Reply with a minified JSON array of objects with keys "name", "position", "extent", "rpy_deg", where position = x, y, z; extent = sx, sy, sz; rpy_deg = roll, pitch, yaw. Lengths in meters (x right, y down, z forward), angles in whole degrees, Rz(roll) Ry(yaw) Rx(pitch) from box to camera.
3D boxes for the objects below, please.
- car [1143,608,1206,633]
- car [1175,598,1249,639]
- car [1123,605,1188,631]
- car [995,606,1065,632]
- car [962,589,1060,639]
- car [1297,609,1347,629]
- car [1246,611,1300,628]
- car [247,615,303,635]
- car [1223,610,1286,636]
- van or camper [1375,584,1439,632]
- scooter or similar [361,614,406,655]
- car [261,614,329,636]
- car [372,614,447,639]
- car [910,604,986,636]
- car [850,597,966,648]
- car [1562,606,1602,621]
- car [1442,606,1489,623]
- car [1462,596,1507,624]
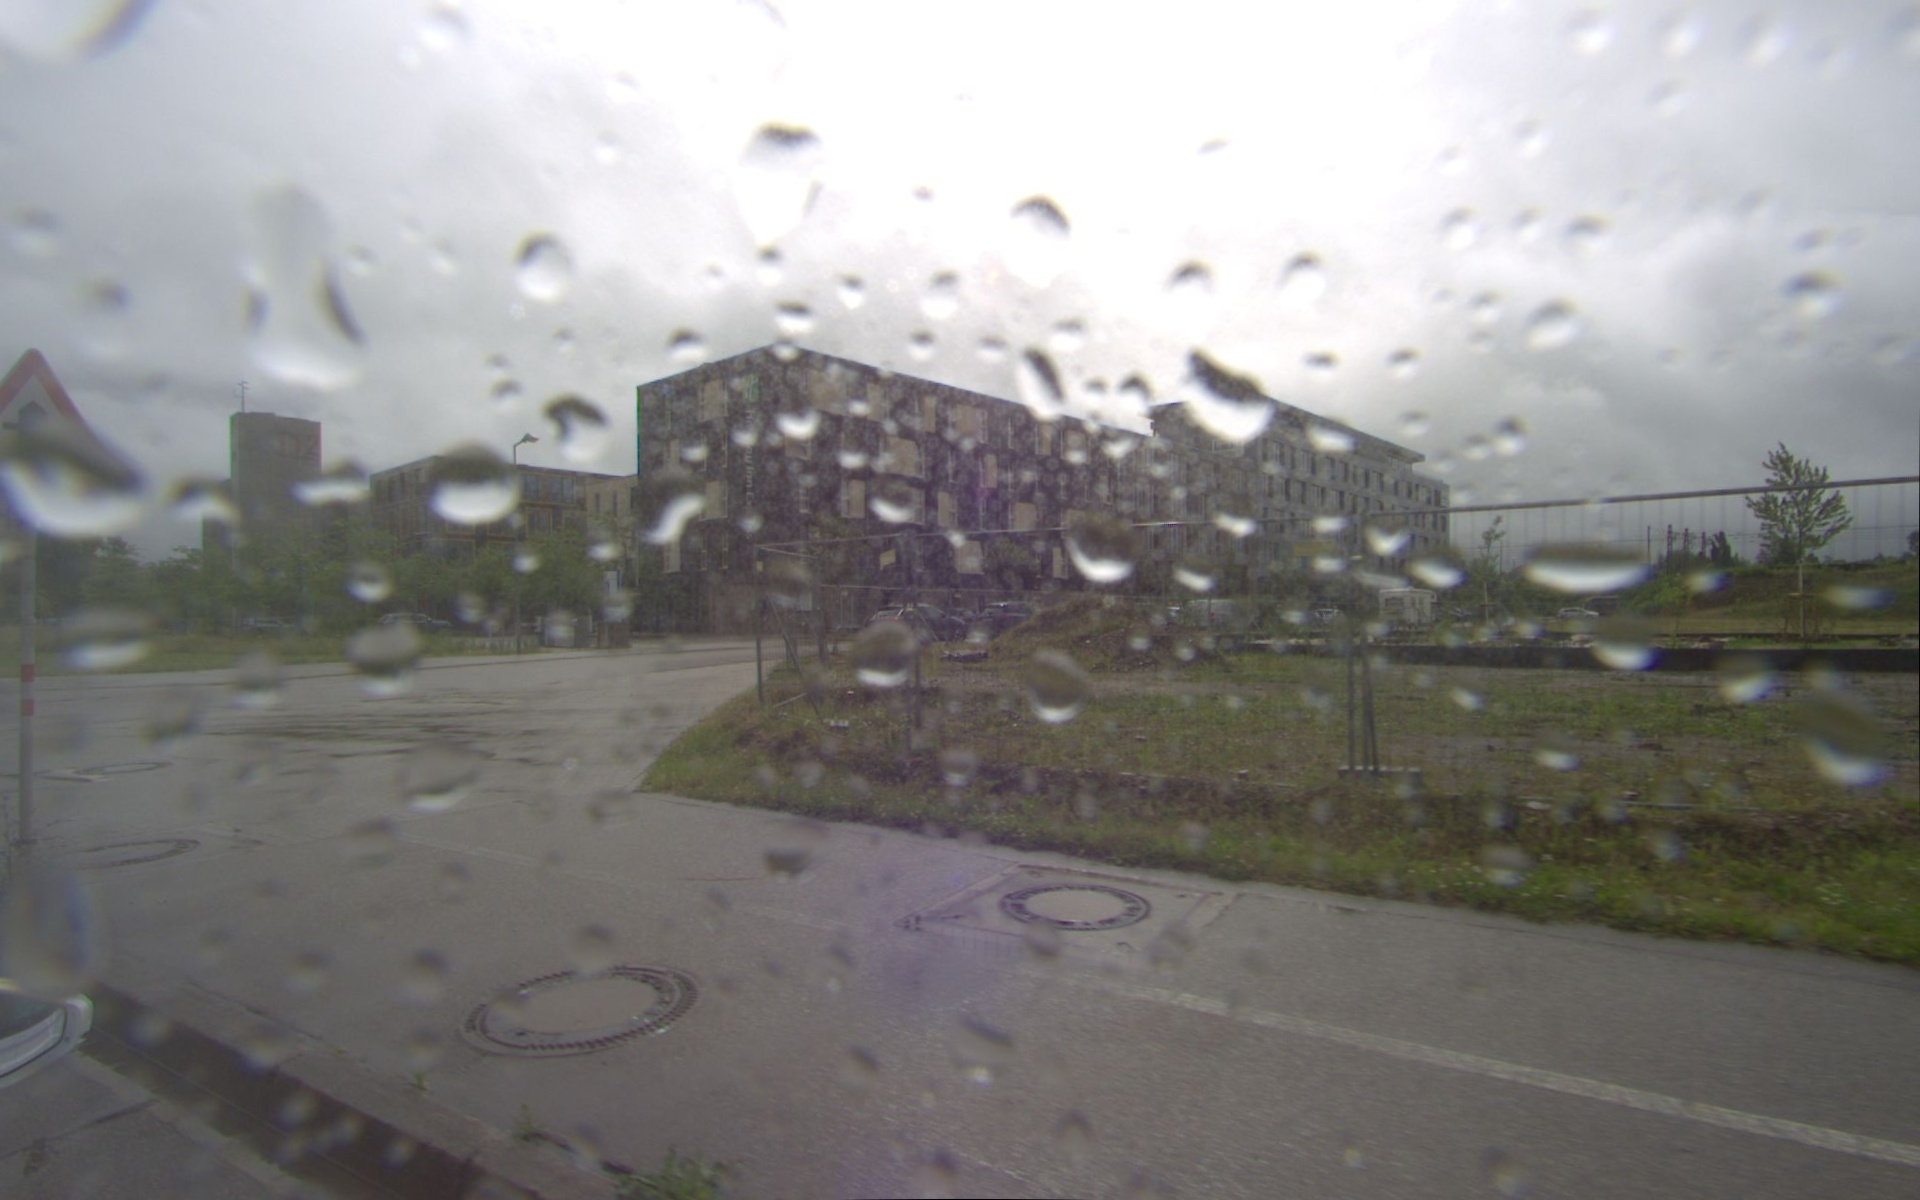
[{"name":"car","position":[14.678,1.398,68.567],"extent":[3.798,1.635,1.773],"rpy_deg":[-1,-4,41]},{"name":"car","position":[13.343,1.030,52.919],"extent":[1.978,1.793,4.306],"rpy_deg":[0,-6,42]},{"name":"car","position":[12.845,1.184,65.771],"extent":[3.798,1.635,1.773],"rpy_deg":[-1,-4,41]},{"name":"car","position":[4.081,1.110,58.337],"extent":[3.764,1.412,1.755],"rpy_deg":[-1,-4,41]},{"name":"car","position":[2.079,0.574,39.850],"extent":[1.975,1.749,3.975],"rpy_deg":[0,-4,38]},{"name":"car","position":[32.314,1.682,89.438],"extent":[3.798,1.635,1.773],"rpy_deg":[-1,-4,41]},{"name":"car","position":[25.623,1.627,82.031],"extent":[3.859,1.312,1.541],"rpy_deg":[-1,-4,41]},{"name":"car","position":[-62.933,2.262,92.037],"extent":[3.962,1.743,1.752],"rpy_deg":[0,-1,-45]},{"name":"car","position":[16.794,1.335,56.979],"extent":[1.977,1.432,3.968],"rpy_deg":[0,-2,41]},{"name":"van or camper","position":[33.765,0.666,75.503],"extent":[2.501,3.241,6.749],"rpy_deg":[0,-4,42]},{"name":"scooter or similar","position":[-17.715,1.050,30.790],"extent":[0.493,1.203,1.283],"rpy_deg":[1,2,12]},{"name":"car","position":[-56.052,2.081,84.401],"extent":[1.980,1.785,4.514],"rpy_deg":[0,-1,45]},{"name":"car","position":[-37.426,1.790,68.172],"extent":[1.650,1.578,4.178],"rpy_deg":[-1,0,45]},{"name":"car","position":[-0.651,1.035,52.495],"extent":[3.798,1.546,1.773],"rpy_deg":[-1,-4,41]},{"name":"car","position":[-1.779,0.780,35.418],"extent":[1.976,1.638,3.972],"rpy_deg":[-4,-3,38]},{"name":"car","position":[72.996,1.625,117.501],"extent":[3.947,1.750,1.988],"rpy_deg":[-1,0,35]},{"name":"car","position":[56.325,1.609,111.561],"extent":[4.324,1.708,1.785],"rpy_deg":[-1,-4,45]},{"name":"car","position":[43.630,0.853,83.241],"extent":[4.770,2.038,1.980],"rpy_deg":[5,-4,-45]}]
